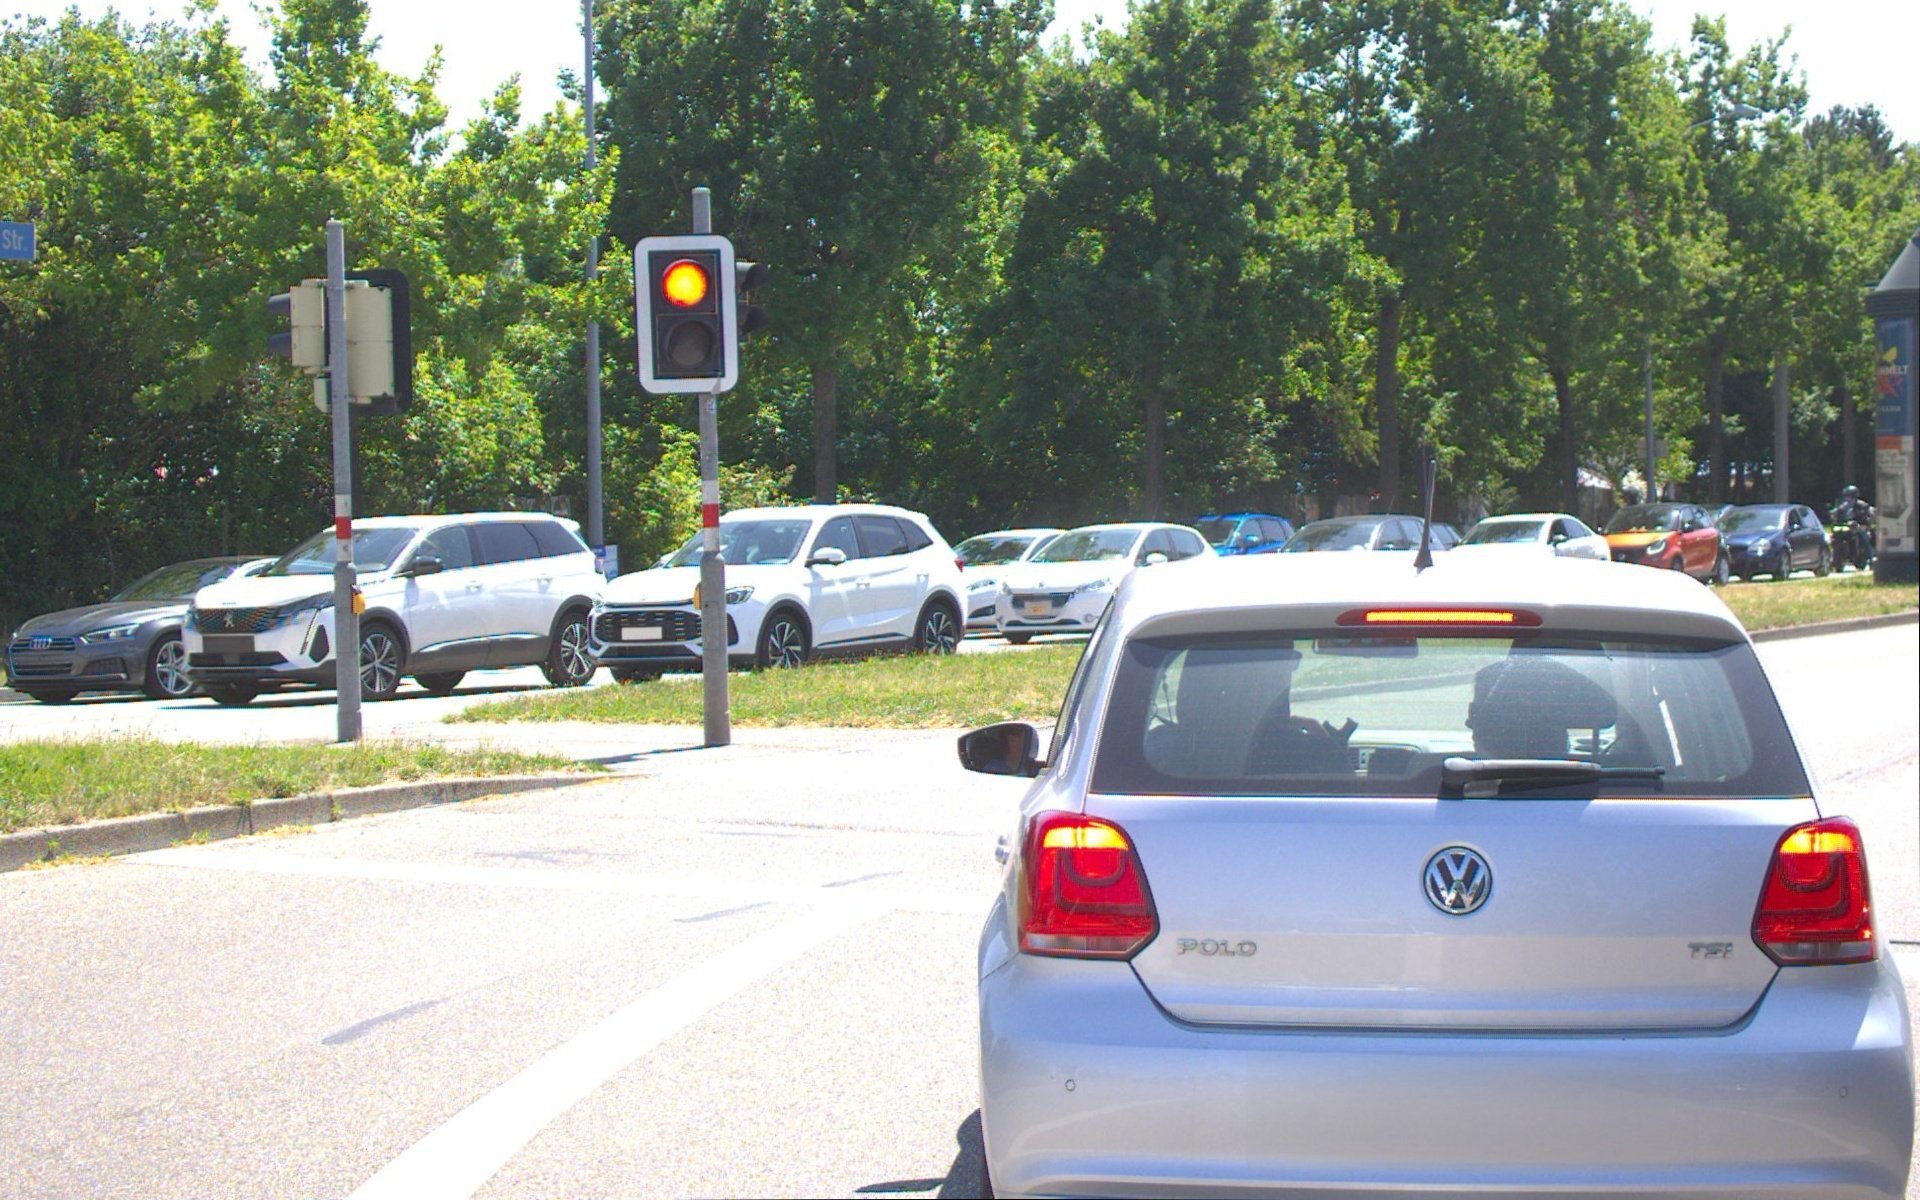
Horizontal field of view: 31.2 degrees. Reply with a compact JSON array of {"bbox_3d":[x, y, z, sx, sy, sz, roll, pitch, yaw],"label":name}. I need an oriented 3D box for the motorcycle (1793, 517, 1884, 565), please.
[{"bbox_3d":[17.938,-1.211,70.151,0.897,0.949,2.810,-1,0,34],"label":"motorcycle"}]

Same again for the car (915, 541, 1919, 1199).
[{"bbox_3d":[0.868,0.617,7.511,1.776,1.417,4.000,0,2,1],"label":"car"}]

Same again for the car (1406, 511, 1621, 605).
[{"bbox_3d":[8.907,-0.702,55.077,1.862,1.417,4.400,0,2,32],"label":"car"}]

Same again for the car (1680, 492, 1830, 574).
[{"bbox_3d":[15.155,-1.279,65.435,1.718,1.470,3.791,-1,0,30],"label":"car"}]

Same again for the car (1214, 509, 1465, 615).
[{"bbox_3d":[5.483,-0.572,49.184,1.862,1.417,4.400,0,2,32],"label":"car"}]

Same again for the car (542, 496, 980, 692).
[{"bbox_3d":[-1.751,-0.115,31.842,1.862,1.677,4.400,0,2,32],"label":"car"}]

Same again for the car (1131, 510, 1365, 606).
[{"bbox_3d":[4.550,-0.682,53.804,1.862,1.417,4.400,0,2,32],"label":"car"}]

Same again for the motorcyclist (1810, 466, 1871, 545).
[{"bbox_3d":[17.998,-1.922,70.270,0.907,1.581,1.008,-1,0,33],"label":"motorcyclist"}]

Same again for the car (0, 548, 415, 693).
[{"bbox_3d":[-7.532,0.150,33.815,1.862,1.266,4.400,0,2,32],"label":"car"}]

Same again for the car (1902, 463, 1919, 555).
[{"bbox_3d":[22.570,-2.044,76.736,1.997,2.007,3.993,-1,0,30],"label":"car"}]

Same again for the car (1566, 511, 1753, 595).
[{"bbox_3d":[12.482,-0.862,61.191,1.862,1.417,4.400,0,2,32],"label":"car"}]

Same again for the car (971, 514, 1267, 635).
[{"bbox_3d":[2.082,-0.360,43.699,1.862,1.417,4.400,0,2,32],"label":"car"}]

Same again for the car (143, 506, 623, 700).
[{"bbox_3d":[-5.147,-0.035,31.267,1.862,1.612,4.400,0,2,32],"label":"car"}]

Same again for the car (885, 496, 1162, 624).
[{"bbox_3d":[0.933,-0.587,47.680,1.862,1.677,4.400,0,2,32],"label":"car"}]
